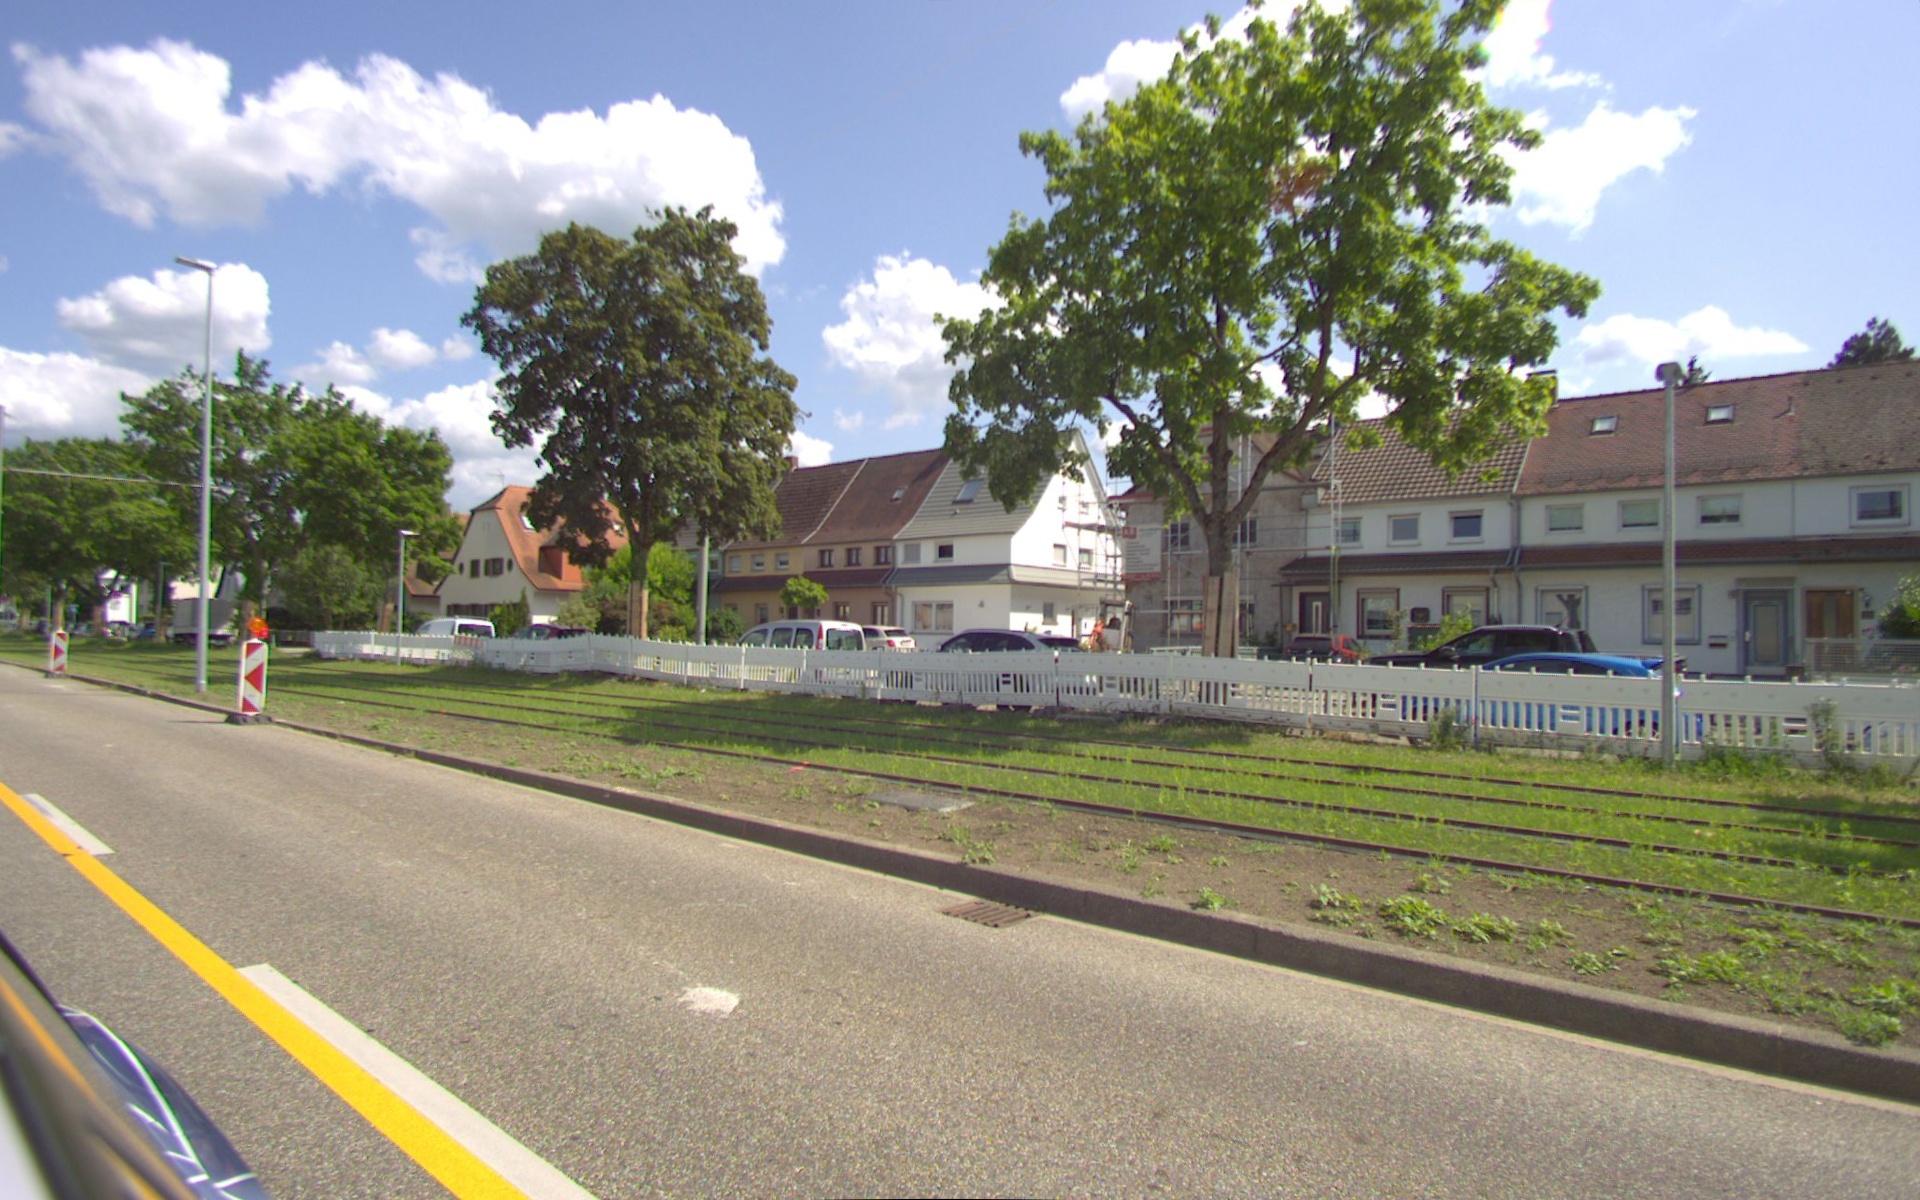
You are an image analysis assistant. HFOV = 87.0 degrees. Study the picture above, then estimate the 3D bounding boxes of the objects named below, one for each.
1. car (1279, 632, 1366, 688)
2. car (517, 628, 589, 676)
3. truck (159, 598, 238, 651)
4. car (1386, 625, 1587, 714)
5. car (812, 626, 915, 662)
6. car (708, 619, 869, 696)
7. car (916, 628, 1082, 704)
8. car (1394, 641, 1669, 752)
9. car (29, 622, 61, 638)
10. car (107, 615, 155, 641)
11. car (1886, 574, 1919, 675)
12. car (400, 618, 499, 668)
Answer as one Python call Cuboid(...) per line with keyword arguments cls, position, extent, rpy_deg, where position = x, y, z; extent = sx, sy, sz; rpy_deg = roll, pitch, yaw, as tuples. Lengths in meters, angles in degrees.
Cuboid(cls="car", position=(10.027, 1.606, 27.921), extent=(1.285, 1.390, 2.776), rpy_deg=(0, 0, 43))
Cuboid(cls="car", position=(-12.398, 1.578, 30.790), extent=(2.449, 1.358, 1.060), rpy_deg=(-1, -3, 44))
Cuboid(cls="truck", position=(-42.946, 1.321, 56.997), extent=(5.947, 2.826, 2.341), rpy_deg=(0, 0, 41))
Cuboid(cls="car", position=(9.683, 1.229, 18.720), extent=(3.091, 1.506, 1.342), rpy_deg=(-1, -3, 40))
Cuboid(cls="car", position=(-3.798, 1.707, 39.479), extent=(4.117, 1.285, 1.518), rpy_deg=(0, -3, 40))
Cuboid(cls="car", position=(-4.120, 1.321, 24.012), extent=(3.896, 1.664, 1.606), rpy_deg=(0, -3, 40))
Cuboid(cls="car", position=(0.731, 1.272, 19.967), extent=(3.112, 1.388, 1.336), rpy_deg=(-2, -4, 40))
Cuboid(cls="car", position=(7.877, 1.259, 14.064), extent=(3.166, 1.335, 1.327), rpy_deg=(-1, -3, 38))
Cuboid(cls="car", position=(-80.898, 2.636, 89.467), extent=(3.997, 1.311, 1.616), rpy_deg=(0, 0, 41))
Cuboid(cls="car", position=(-51.597, 1.720, 62.962), extent=(3.928, 1.524, 1.651), rpy_deg=(0, 0, 40))
Cuboid(cls="car", position=(21.200, 0.497, 20.122), extent=(3.997, 2.029, 1.973), rpy_deg=(0, 0, 40))
Cuboid(cls="car", position=(-18.062, 1.495, 35.722), extent=(3.998, 1.638, 1.636), rpy_deg=(0, -3, 40))
